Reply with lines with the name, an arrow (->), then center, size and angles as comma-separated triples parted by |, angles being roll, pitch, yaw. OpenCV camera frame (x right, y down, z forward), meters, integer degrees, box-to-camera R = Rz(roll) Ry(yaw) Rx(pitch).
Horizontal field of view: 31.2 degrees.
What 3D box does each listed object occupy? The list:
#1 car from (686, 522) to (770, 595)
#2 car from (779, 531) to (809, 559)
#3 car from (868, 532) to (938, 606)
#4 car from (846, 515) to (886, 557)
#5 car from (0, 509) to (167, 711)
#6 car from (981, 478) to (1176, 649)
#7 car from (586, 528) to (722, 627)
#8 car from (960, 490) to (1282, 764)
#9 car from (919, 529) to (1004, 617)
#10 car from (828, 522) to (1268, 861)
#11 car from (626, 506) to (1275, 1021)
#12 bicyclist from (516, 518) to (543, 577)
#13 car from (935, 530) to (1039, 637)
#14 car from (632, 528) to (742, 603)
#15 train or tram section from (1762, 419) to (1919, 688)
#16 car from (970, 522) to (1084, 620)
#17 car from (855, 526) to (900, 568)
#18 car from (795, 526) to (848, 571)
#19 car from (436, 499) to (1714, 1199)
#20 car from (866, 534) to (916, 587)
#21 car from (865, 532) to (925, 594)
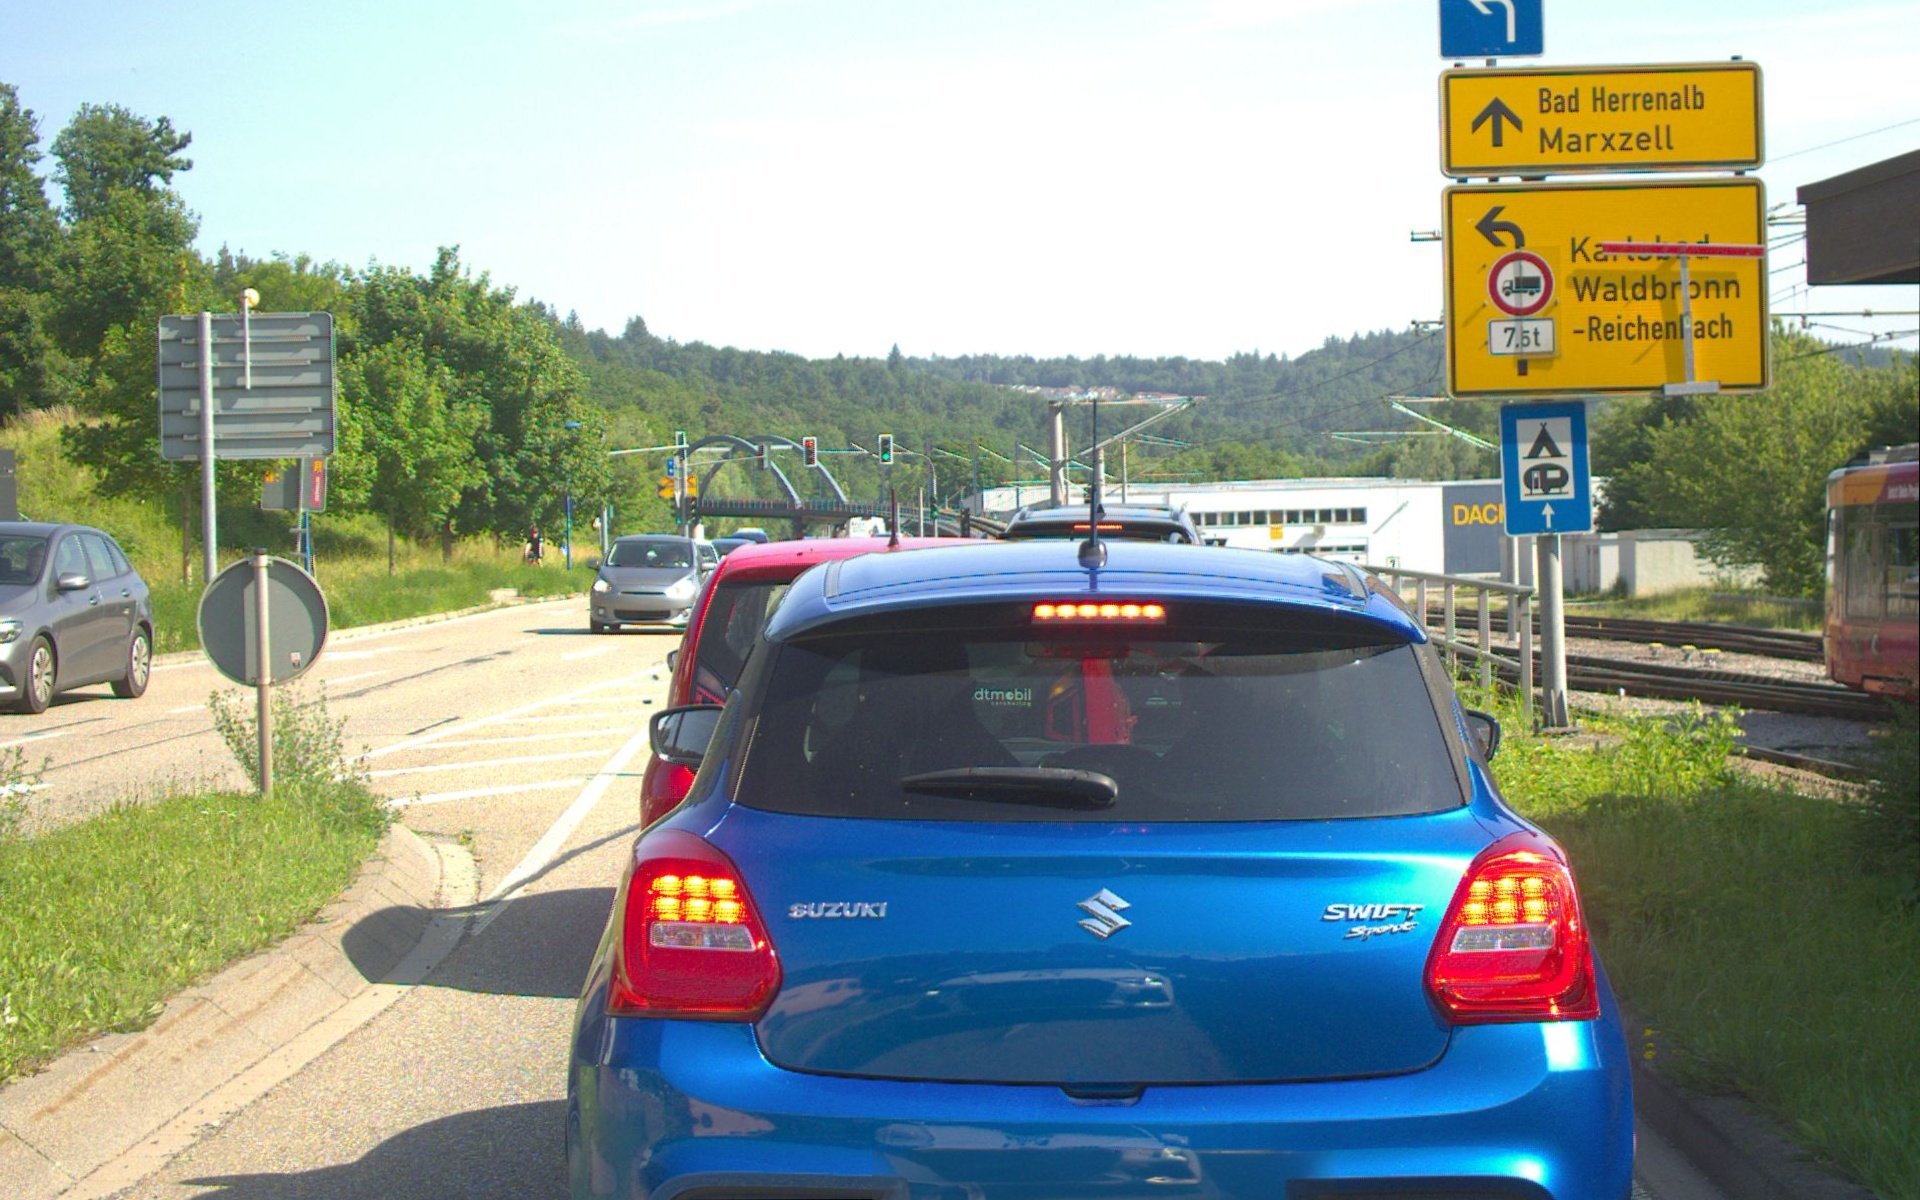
car -> -5.421, -0.985, 80.715 | 1.832, 1.463, 3.812 | 2, 3, -3
car -> -12.092, -4.047, 251.204 | 1.993, 2.007, 4.000 | 1, 1, -1
car -> -1.679, -0.939, 101.883 | 1.993, 2.006, 4.001 | 2, 2, -1
car -> -4.928, -3.378, 181.169 | 1.993, 2.137, 4.720 | 1, 1, -1
car -> -8.211, 0.018, 28.834 | 1.993, 1.558, 4.509 | 0, 1, 1
car -> 1.273, -0.431, 38.096 | 1.993, 1.730, 4.000 | 2, 1, 1
car -> -4.634, -0.361, 52.438 | 1.672, 1.436, 3.840 | 1, 1, 1
car -> 1.059, 0.118, 24.066 | 1.993, 1.681, 4.497 | 2, 1, 1
car -> 0.011, -0.693, 85.338 | 1.993, 2.006, 4.001 | 2, 2, -1
car -> 0.441, 0.368, 17.984 | 1.993, 1.526, 4.602 | -1, 1, 1
car -> 0.001, 0.479, 12.717 | 1.993, 1.566, 4.000 | 1, 1, 1
bicyclist -> -11.239, -1.376, 89.726 | 0.629, 1.502, 0.506 | 2, 2, -3
car -> 0.516, -0.366, 70.466 | 1.993, 2.006, 4.001 | 2, 2, -1
car -> -5.458, -0.721, 69.104 | 1.832, 1.364, 3.950 | 1, 2, 1
train or tram section -> 13.318, -0.566, 43.613 | 2.755, 3.352, 12.050 | 1, 2, -3
car -> 1.146, -0.522, 58.622 | 1.832, 1.488, 3.811 | 2, 2, 1
car -> -3.898, -2.517, 162.832 | 1.993, 1.810, 4.001 | 2, 2, -1
car -> -5.633, -2.095, 140.179 | 1.993, 1.777, 4.000 | 1, 1, -1
car -> 0.123, 0.585, 7.047 | 1.868, 1.543, 4.000 | 0, 1, -1
car -> -2.863, -1.660, 143.280 | 1.993, 2.006, 4.001 | 2, 2, -1
car -> -2.269, -1.305, 121.003 | 1.993, 2.006, 4.001 | 2, 2, -1
